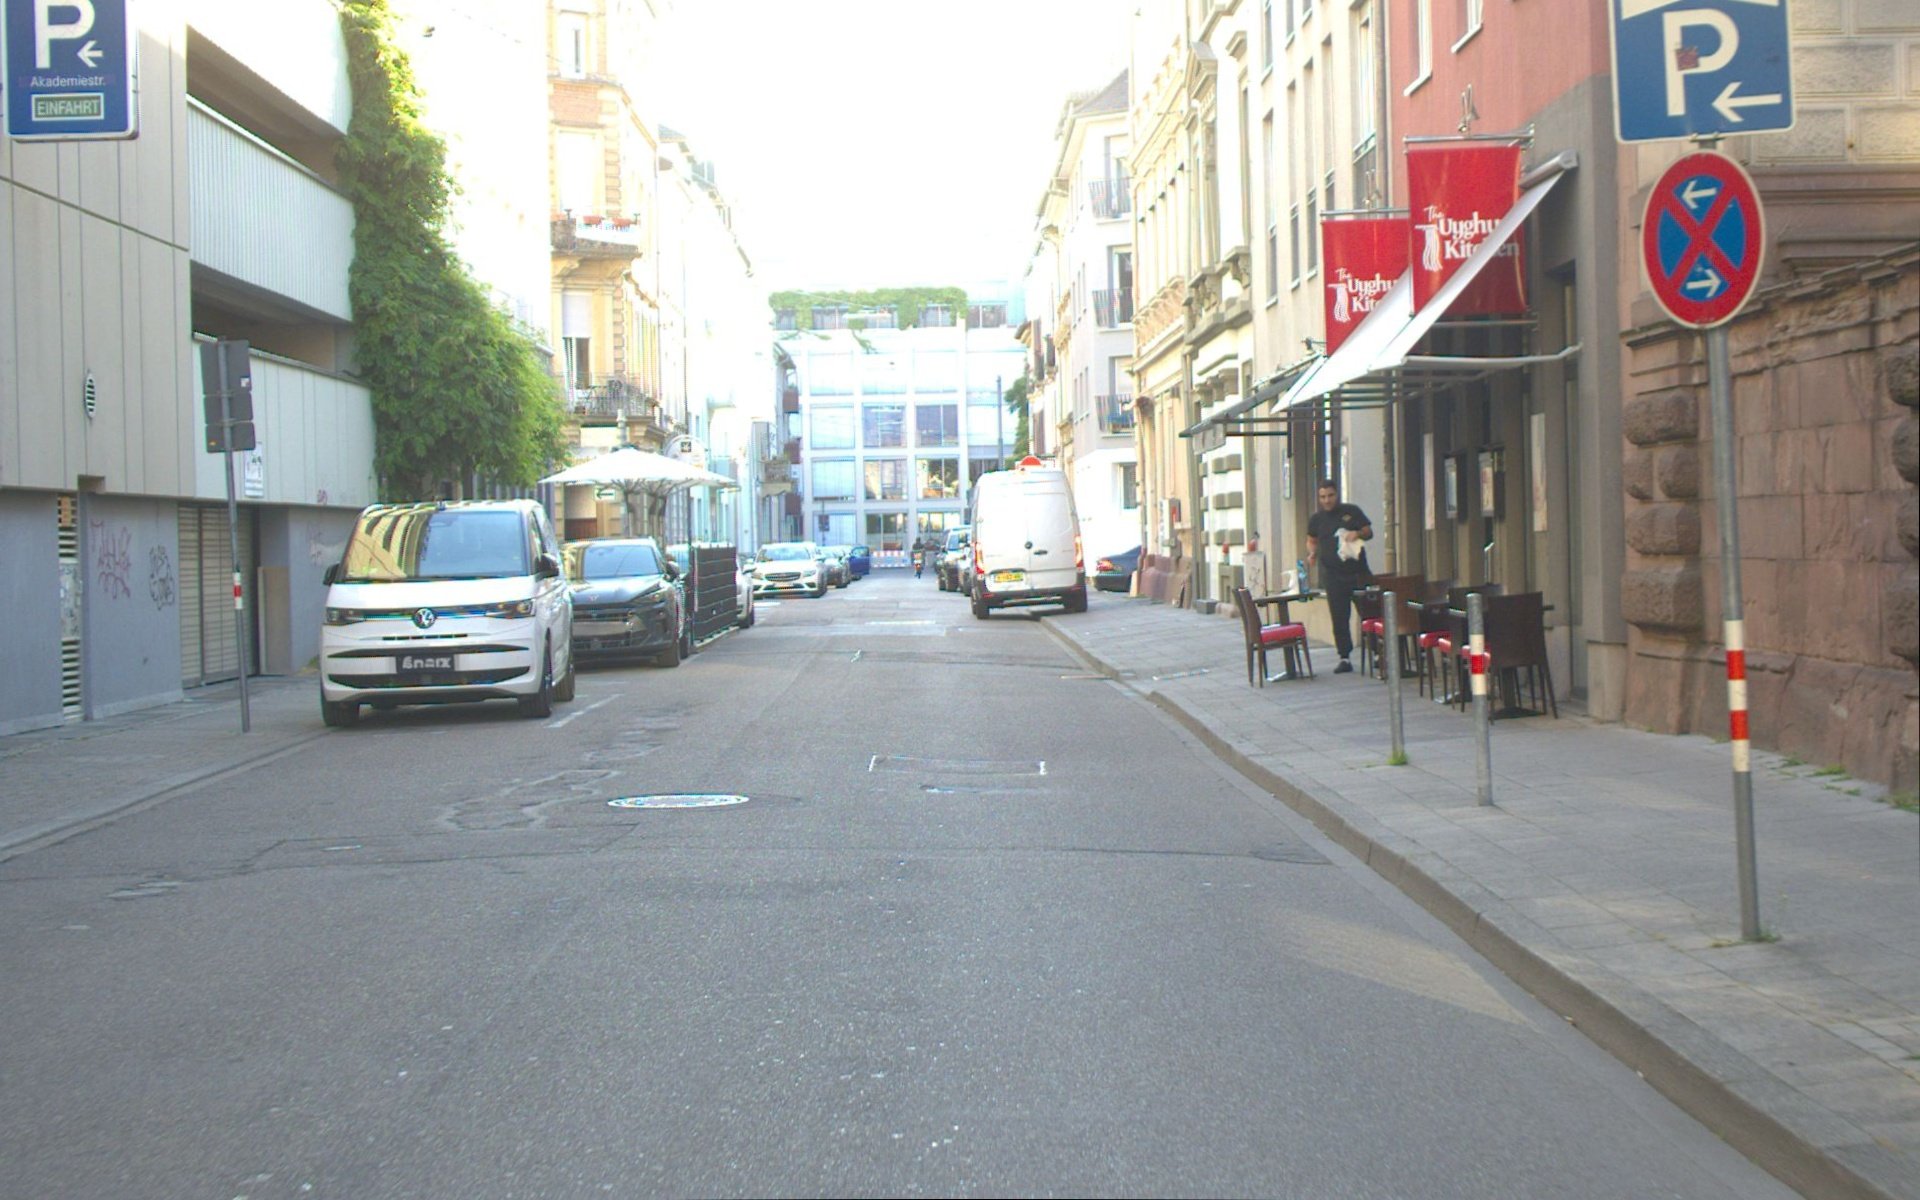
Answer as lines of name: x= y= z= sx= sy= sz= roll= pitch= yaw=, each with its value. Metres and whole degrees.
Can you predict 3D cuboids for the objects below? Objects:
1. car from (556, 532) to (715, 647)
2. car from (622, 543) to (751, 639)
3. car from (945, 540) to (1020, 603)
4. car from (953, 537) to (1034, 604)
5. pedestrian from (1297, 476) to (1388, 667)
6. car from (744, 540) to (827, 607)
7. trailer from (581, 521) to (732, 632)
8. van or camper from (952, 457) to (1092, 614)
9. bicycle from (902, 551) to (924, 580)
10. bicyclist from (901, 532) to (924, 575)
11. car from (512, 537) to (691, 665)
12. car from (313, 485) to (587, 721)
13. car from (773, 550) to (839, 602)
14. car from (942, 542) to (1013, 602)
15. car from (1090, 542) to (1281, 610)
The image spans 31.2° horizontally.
car: x=-4.334 y=-0.171 z=46.446 sx=1.883 sy=1.448 sz=4.000 roll=-1 pitch=1 yaw=-2
car: x=-4.363 y=-0.174 z=55.335 sx=1.883 sy=1.448 sz=4.000 roll=-1 pitch=1 yaw=-2
car: x=0.602 y=-0.782 z=95.561 sx=1.993 sy=1.678 sz=4.000 roll=-1 pitch=0 yaw=0
car: x=0.845 y=-0.753 z=88.508 sx=1.993 sy=1.678 sz=4.000 roll=-1 pitch=0 yaw=0
pedestrian: x=3.418 y=-0.254 z=30.770 sx=0.662 sy=1.660 sz=0.624 roll=-3 pitch=1 yaw=0
car: x=-4.541 y=-0.683 z=90.005 sx=1.993 sy=1.678 sz=4.000 roll=-1 pitch=0 yaw=0
trailer: x=-4.460 y=-0.346 z=50.975 sx=1.993 sy=1.552 sz=4.000 roll=-1 pitch=0 yaw=-2
van or camper: x=1.097 y=-1.164 z=63.933 sx=2.258 sy=2.598 sz=5.112 roll=-5 pitch=0 yaw=0
bicycle: x=-2.081 y=-1.534 z=152.850 sx=0.975 sy=1.276 sz=2.754 roll=-1 pitch=0 yaw=0
bicyclist: x=-2.093 y=-2.069 z=152.650 sx=0.990 sy=1.862 sz=0.708 roll=-1 pitch=0 yaw=0
car: x=-4.312 y=-0.017 z=41.837 sx=1.883 sy=1.448 sz=4.000 roll=-1 pitch=1 yaw=-2
car: x=-4.432 y=-0.014 z=30.527 sx=1.883 sy=1.905 sz=4.749 roll=-1 pitch=1 yaw=-2
car: x=-5.052 y=-0.784 z=112.965 sx=1.993 sy=1.678 sz=4.000 roll=-1 pitch=0 yaw=0
car: x=0.493 y=-0.803 z=100.353 sx=1.993 sy=1.678 sz=4.000 roll=-1 pitch=0 yaw=0
car: x=4.848 y=-0.516 z=74.323 sx=3.987 sy=1.415 sz=1.656 roll=-1 pitch=0 yaw=0
